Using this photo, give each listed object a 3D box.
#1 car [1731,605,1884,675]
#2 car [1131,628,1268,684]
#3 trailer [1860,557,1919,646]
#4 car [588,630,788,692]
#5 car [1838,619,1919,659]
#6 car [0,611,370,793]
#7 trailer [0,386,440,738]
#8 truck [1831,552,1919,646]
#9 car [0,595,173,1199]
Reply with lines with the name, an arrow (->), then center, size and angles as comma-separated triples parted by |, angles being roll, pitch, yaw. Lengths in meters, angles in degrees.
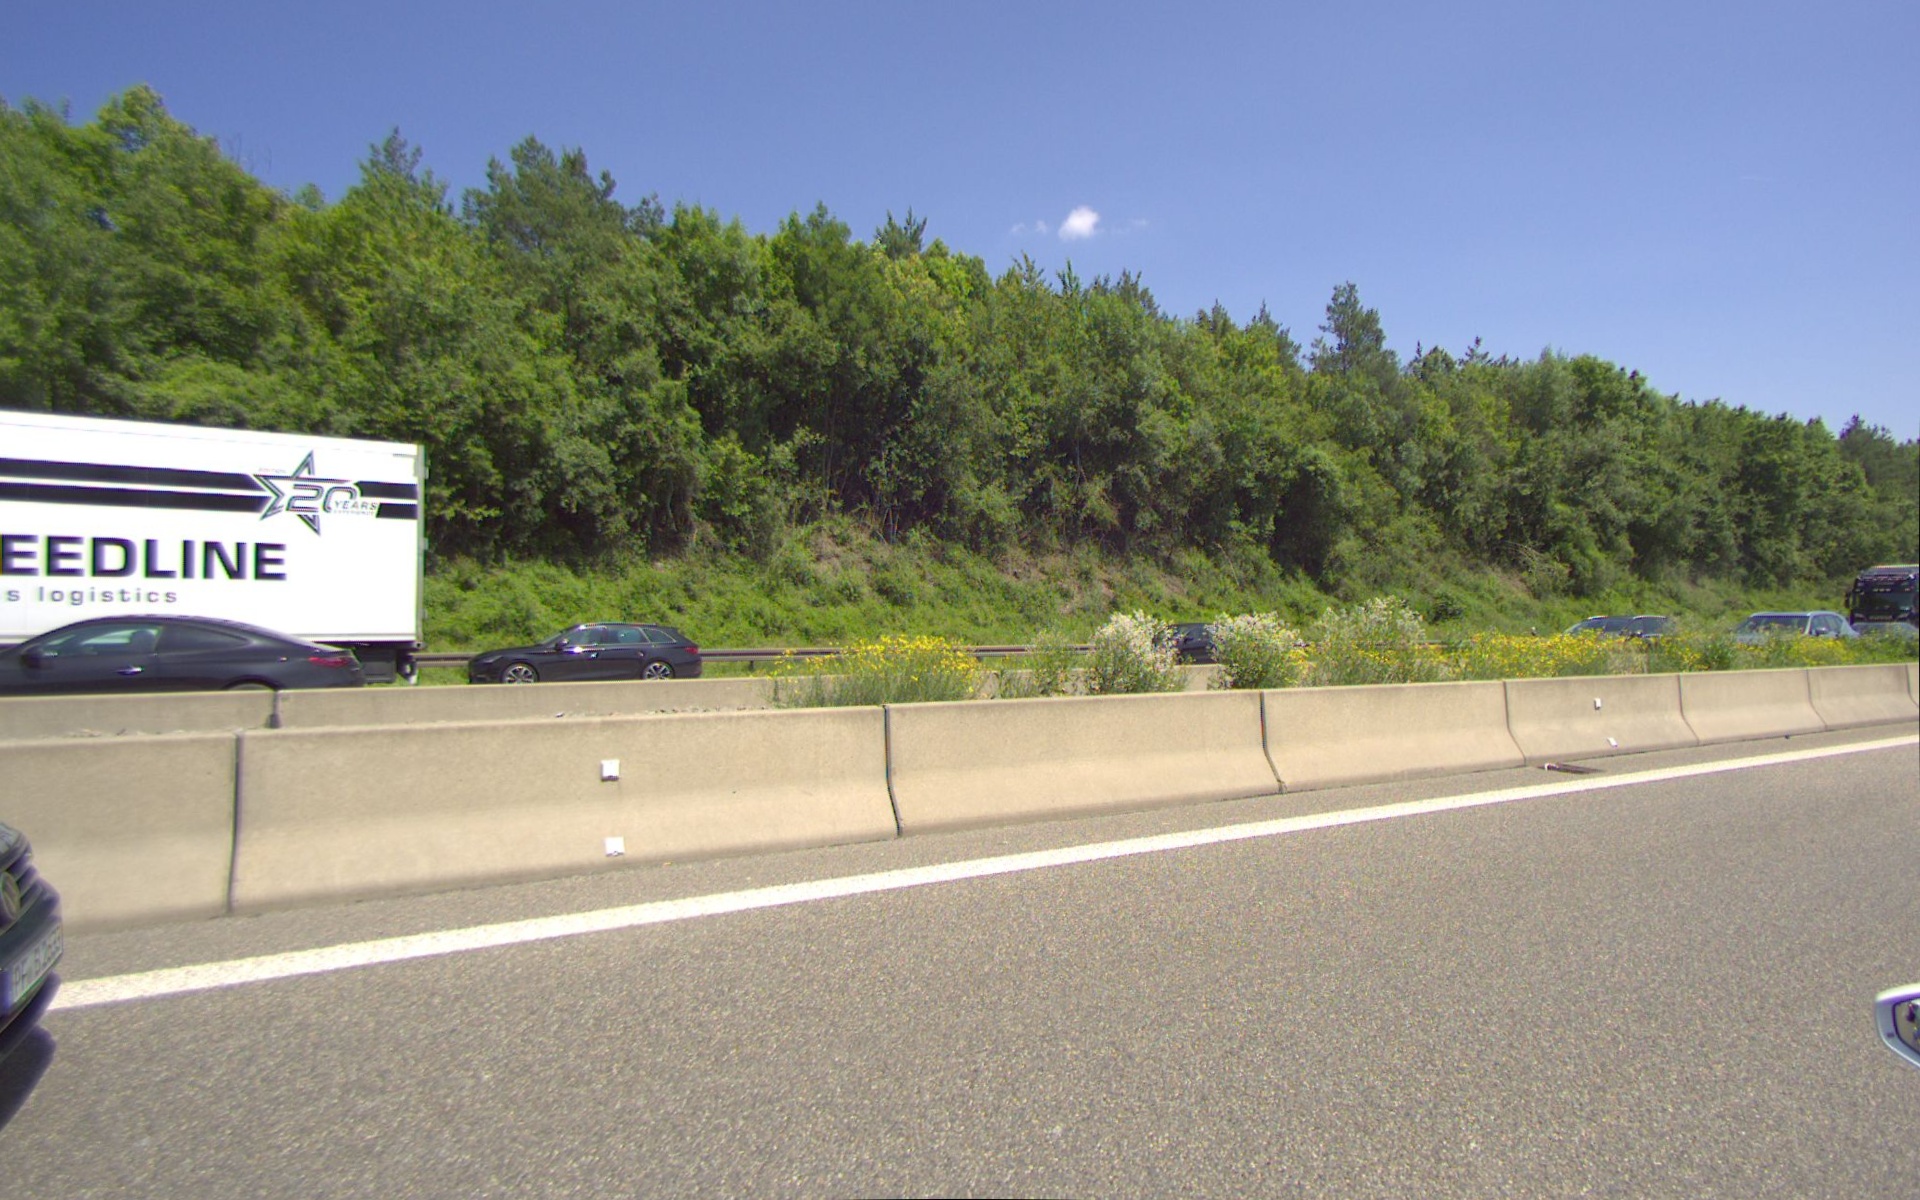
car -> 20.065, 0.928, 23.742 | 3.953, 1.539, 1.556 | 1, -1, -30
car -> 7.023, 1.597, 29.351 | 3.953, 1.539, 1.556 | 1, -1, -30
trailer -> 49.338, 0.294, 49.862 | 13.726, 4.026, 2.893 | 2, -3, -30
car -> -5.886, 1.287, 21.858 | 3.953, 1.229, 1.556 | 1, -1, -30
car -> 33.649, 1.396, 36.429 | 3.953, 1.384, 1.556 | 1, -1, -30
car -> -9.272, 1.062, 11.098 | 4.676, 1.799, 1.777 | 2, -3, -30
trailer -> -14.491, -0.515, 12.663 | 13.877, 4.395, 2.789 | 2, -2, -31
truck -> 44.028, 0.095, 46.757 | 7.678, 4.026, 2.893 | 2, -3, -30
car -> -4.488, 0.685, 1.730 | 4.673, 1.446, 1.725 | 1, -2, -30
